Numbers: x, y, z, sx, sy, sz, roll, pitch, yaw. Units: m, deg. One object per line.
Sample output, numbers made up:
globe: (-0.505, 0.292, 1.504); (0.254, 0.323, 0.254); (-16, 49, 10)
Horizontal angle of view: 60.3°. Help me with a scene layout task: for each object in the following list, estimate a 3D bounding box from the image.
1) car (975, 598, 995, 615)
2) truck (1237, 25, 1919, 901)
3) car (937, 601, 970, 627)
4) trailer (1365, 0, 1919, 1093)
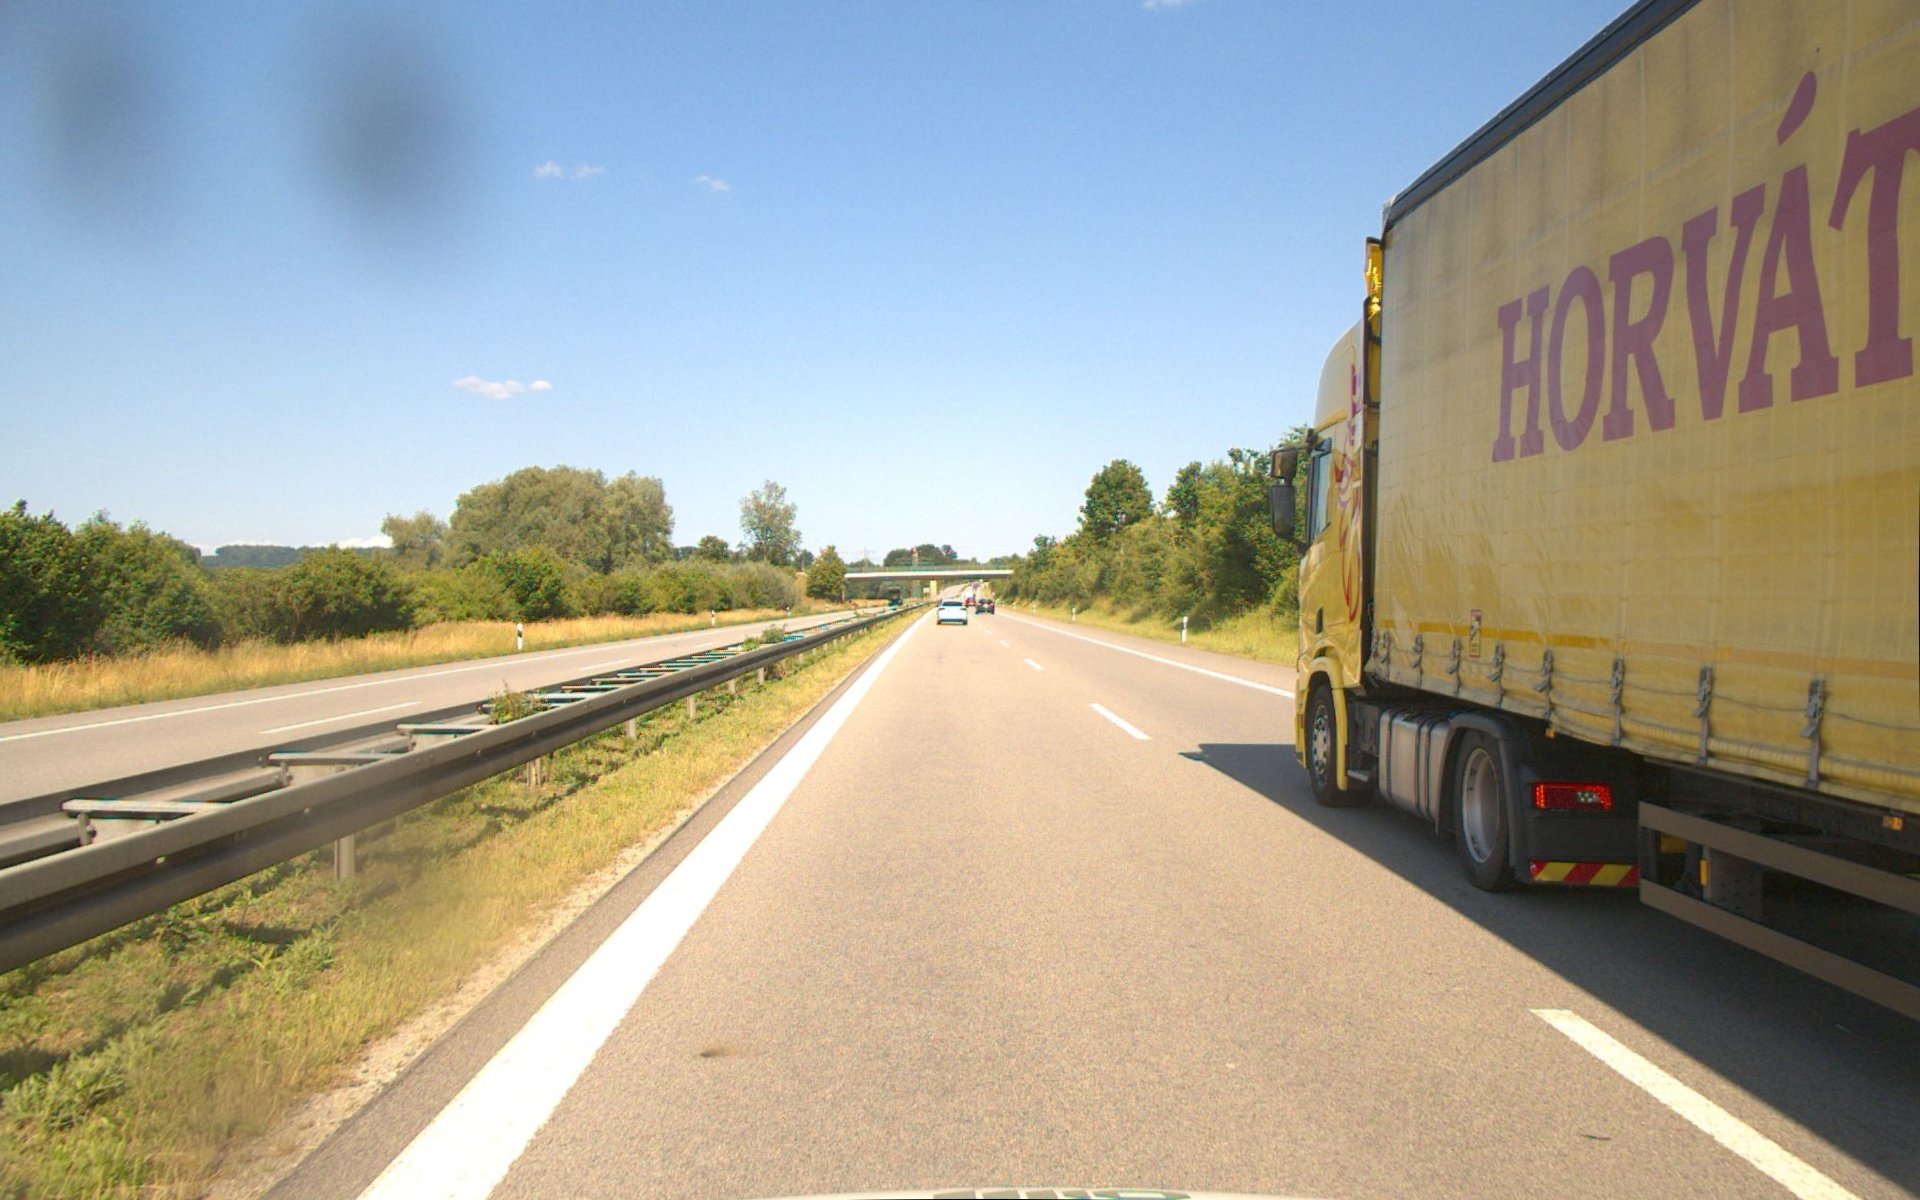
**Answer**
car: (2.423, 0.632, 161.758); (1.805, 1.546, 3.999); (1, 0, 0)
truck: (4.110, -0.633, 11.213); (3.105, 4.186, 6.385); (1, 0, -2)
car: (-0.369, 0.812, 95.172); (1.805, 1.440, 3.999); (1, 0, 0)
trailer: (4.304, -0.650, 4.002); (3.120, 4.130, 13.183); (1, 0, -1)
